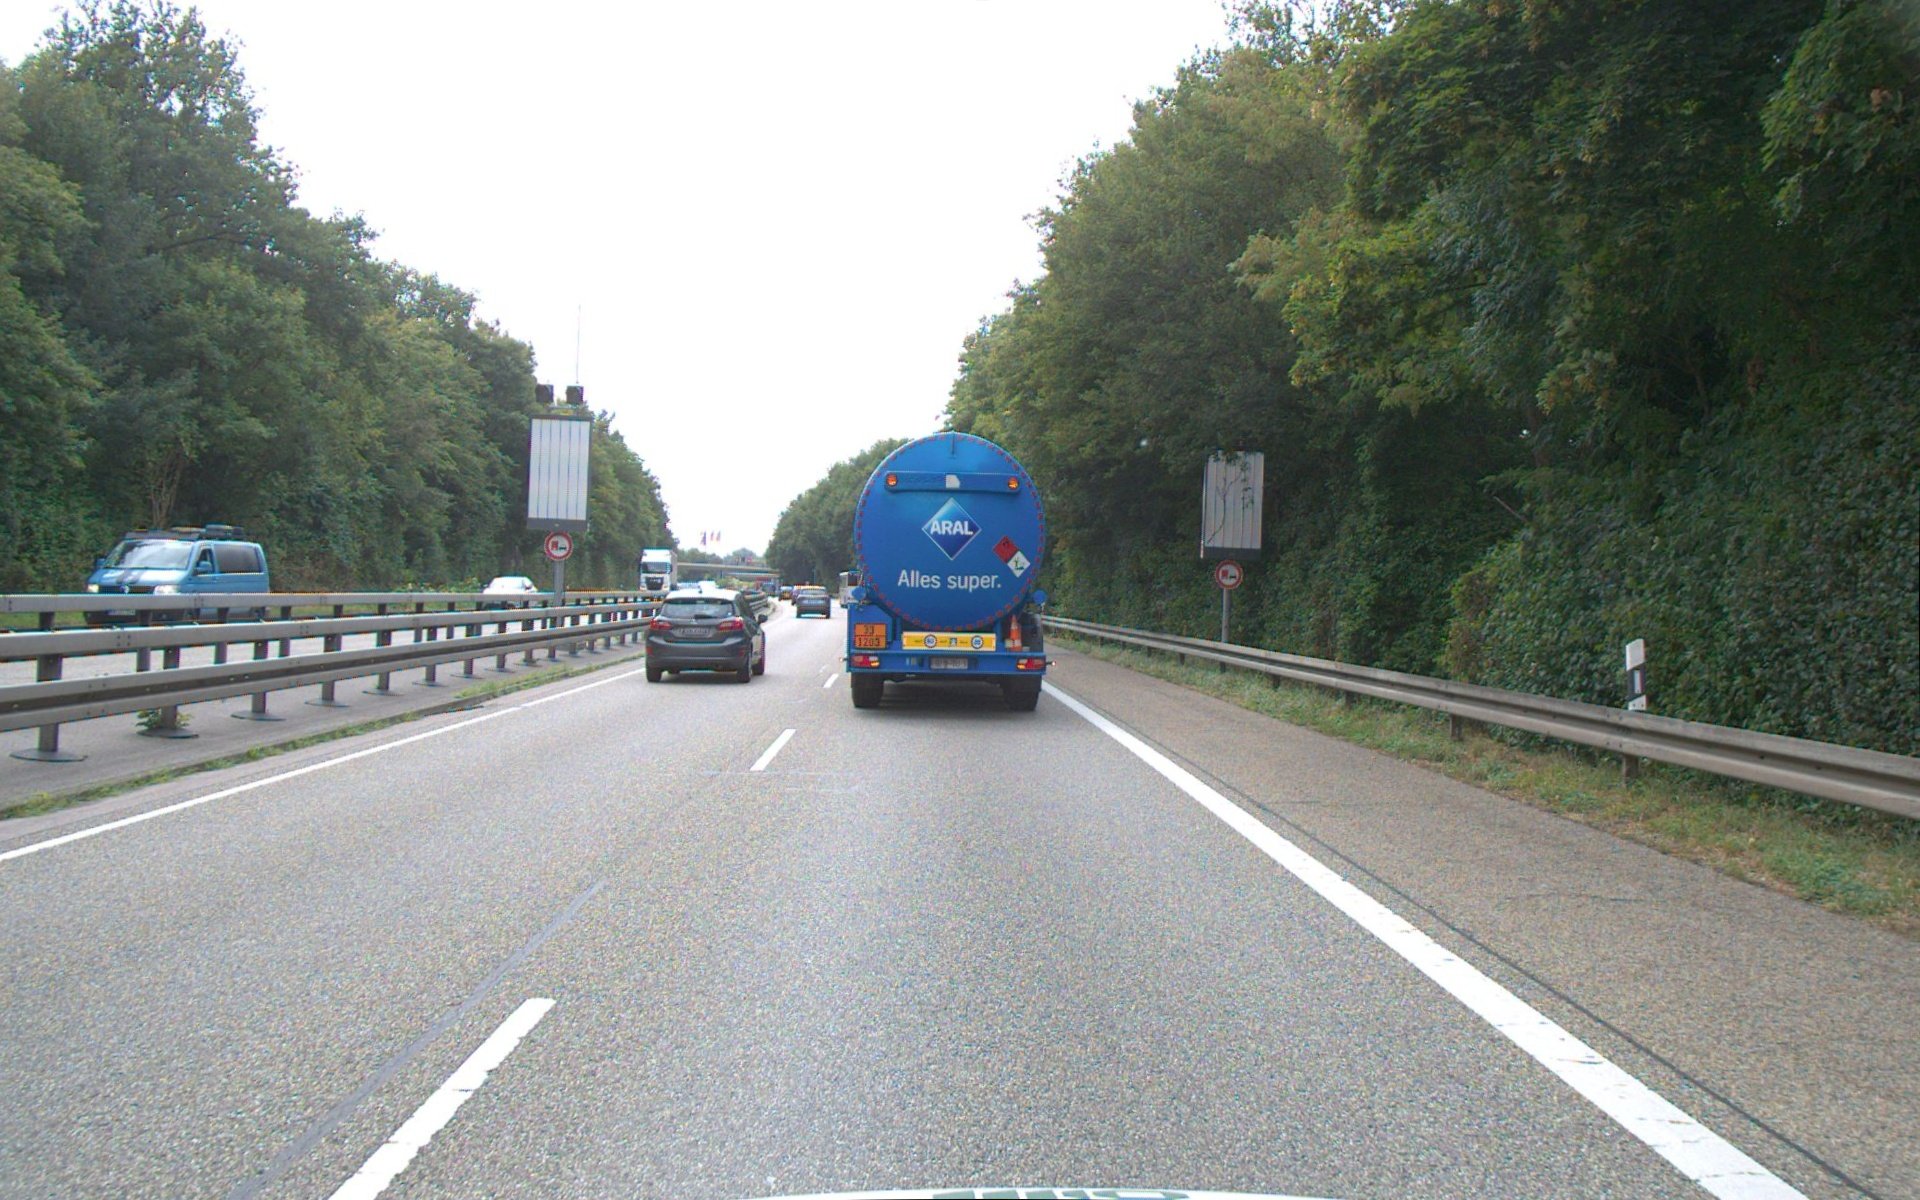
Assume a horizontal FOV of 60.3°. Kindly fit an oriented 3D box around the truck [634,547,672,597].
[{"bbox_3d":[-26.073,-2.324,140.773,2.640,4.134,5.317,0,0,-5],"label":"truck"}]

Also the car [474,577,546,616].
[{"bbox_3d":[-17.872,-0.145,65.859,1.954,1.507,4.129,0,0,-3],"label":"car"}]

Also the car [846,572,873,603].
[{"bbox_3d":[-7.652,-0.961,125.922,1.953,2.284,3.998,0,0,-3],"label":"car"}]

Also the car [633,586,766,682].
[{"bbox_3d":[-4.301,0.528,27.907,1.790,1.483,4.636,0,0,-4],"label":"car"}]

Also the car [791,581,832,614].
[{"bbox_3d":[-7.699,-0.125,85.945,1.789,1.637,4.166,0,0,-1],"label":"car"}]

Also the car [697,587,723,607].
[{"bbox_3d":[-20.539,-0.226,135.869,1.756,1.576,4.126,0,0,-4],"label":"car"}]

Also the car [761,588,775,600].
[{"bbox_3d":[-27.040,-0.852,233.255,1.955,1.579,3.995,0,0,-6],"label":"car"}]

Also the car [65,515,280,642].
[{"bbox_3d":[-15.804,-0.404,33.547,1.896,2.362,5.303,0,0,-1],"label":"car"}]

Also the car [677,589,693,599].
[{"bbox_3d":[-36.739,-0.802,220.937,1.708,1.210,4.287,0,0,-4],"label":"car"}]

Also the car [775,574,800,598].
[{"bbox_3d":[-14.640,-1.181,140.036,1.956,2.049,3.992,0,0,-9],"label":"car"}]

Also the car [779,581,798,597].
[{"bbox_3d":[-18.226,-1.169,175.699,1.917,1.595,3.996,0,0,-5],"label":"car"}]

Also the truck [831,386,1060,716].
[{"bbox_3d":[-0.272,-0.614,23.567,2.700,3.914,7.686,0,0,-2],"label":"truck"}]
